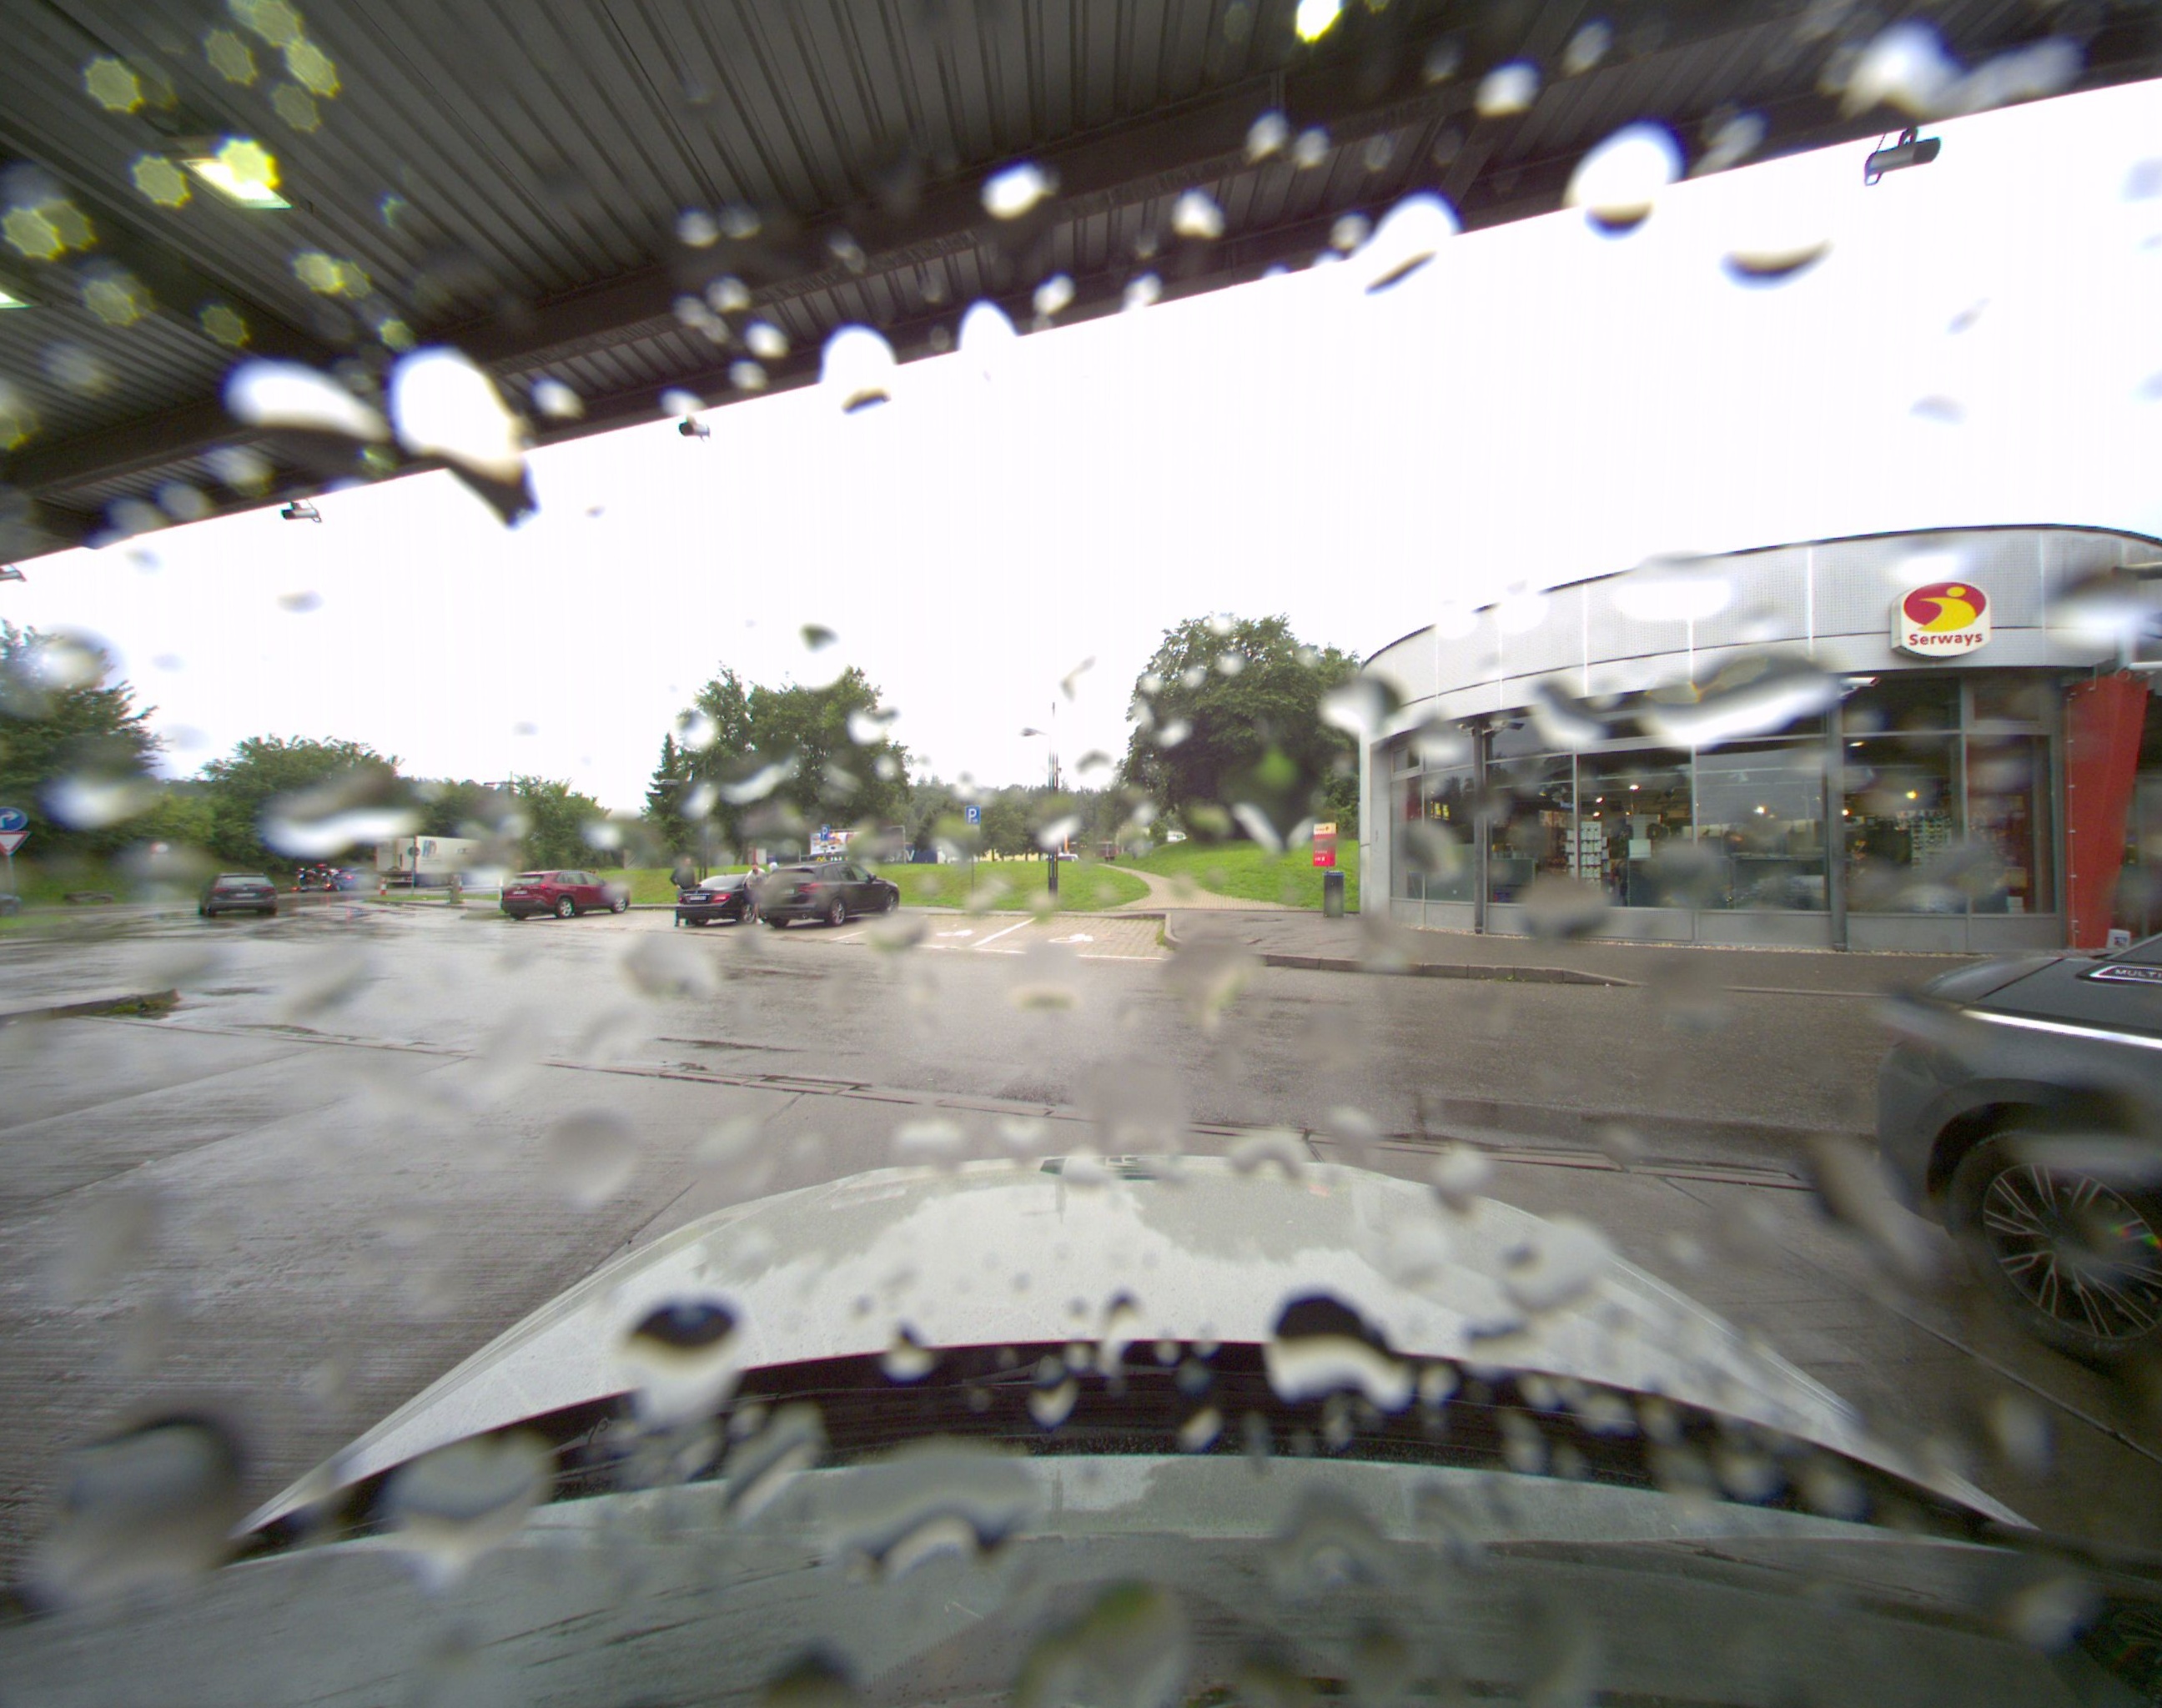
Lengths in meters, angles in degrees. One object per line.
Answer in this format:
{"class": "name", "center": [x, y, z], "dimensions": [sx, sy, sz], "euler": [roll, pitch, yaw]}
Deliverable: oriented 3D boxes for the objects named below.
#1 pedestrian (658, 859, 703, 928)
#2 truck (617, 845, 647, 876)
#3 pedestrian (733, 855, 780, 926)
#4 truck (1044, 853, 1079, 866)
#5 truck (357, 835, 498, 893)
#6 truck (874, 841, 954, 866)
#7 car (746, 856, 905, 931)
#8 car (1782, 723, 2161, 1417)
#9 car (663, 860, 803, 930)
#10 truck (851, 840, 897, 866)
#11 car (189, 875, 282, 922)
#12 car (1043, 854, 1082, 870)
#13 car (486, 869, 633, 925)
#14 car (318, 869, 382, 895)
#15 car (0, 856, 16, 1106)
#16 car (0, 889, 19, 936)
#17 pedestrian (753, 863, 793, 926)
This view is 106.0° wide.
{"class": "pedestrian", "center": [-11.083, 1.075, 22.528], "dimensions": [0.882, 1.887, 0.708], "euler": [-1, -1, 24]}
{"class": "truck", "center": [-46.290, 0.692, 83.843], "dimensions": [2.493, 3.085, 7.284], "euler": [0, -1, -31]}
{"class": "pedestrian", "center": [-8.792, 0.972, 22.087], "dimensions": [0.695, 1.887, 0.960], "euler": [-1, -1, 33]}
{"class": "truck", "center": [-3.234, 0.874, 134.115], "dimensions": [5.356, 2.014, 2.381], "euler": [-1, -1, 26]}
{"class": "truck", "center": [-55.437, 0.830, 69.992], "dimensions": [3.550, 4.340, 16.899], "euler": [0, -1, -18]}
{"class": "truck", "center": [-20.742, -0.061, 102.358], "dimensions": [2.165, 2.920, 13.175], "euler": [-1, -1, 26]}
{"class": "car", "center": [-6.646, 0.969, 21.790], "dimensions": [2.002, 1.711, 4.360], "euler": [-2, 0, 14]}
{"class": "car", "center": [3.675, 0.543, 0.687], "dimensions": [1.854, 1.798, 5.142], "euler": [0, -1, 2]}
{"class": "car", "center": [-9.831, 1.079, 23.435], "dimensions": [2.010, 1.711, 4.344], "euler": [-2, 0, 1]}
{"class": "truck", "center": [-24.175, -0.093, 95.467], "dimensions": [2.165, 2.920, 5.419], "euler": [-1, -1, 27]}
{"class": "car", "center": [-32.925, 1.680, 31.677], "dimensions": [3.948, 1.678, 2.013], "euler": [-2, -1, 37]}
{"class": "car", "center": [-2.170, 0.895, 94.673], "dimensions": [4.150, 1.783, 1.826], "euler": [0, -1, -31]}
{"class": "car", "center": [-18.133, 1.438, 28.604], "dimensions": [1.928, 1.644, 4.352], "euler": [-2, 0, 7]}
{"class": "car", "center": [-50.337, 1.870, 56.187], "dimensions": [1.814, 1.681, 3.927], "euler": [0, -1, -18]}
{"class": "car", "center": [-7.966, 0.801, 2.686], "dimensions": [1.854, 1.608, 5.273], "euler": [0, -1, 2]}
{"class": "car", "center": [-38.359, 2.020, 26.842], "dimensions": [1.771, 1.628, 3.987], "euler": [-1, -1, -9]}
{"class": "pedestrian", "center": [-8.166, 1.060, 21.606], "dimensions": [0.954, 1.631, 0.699], "euler": [0, -1, -21]}
